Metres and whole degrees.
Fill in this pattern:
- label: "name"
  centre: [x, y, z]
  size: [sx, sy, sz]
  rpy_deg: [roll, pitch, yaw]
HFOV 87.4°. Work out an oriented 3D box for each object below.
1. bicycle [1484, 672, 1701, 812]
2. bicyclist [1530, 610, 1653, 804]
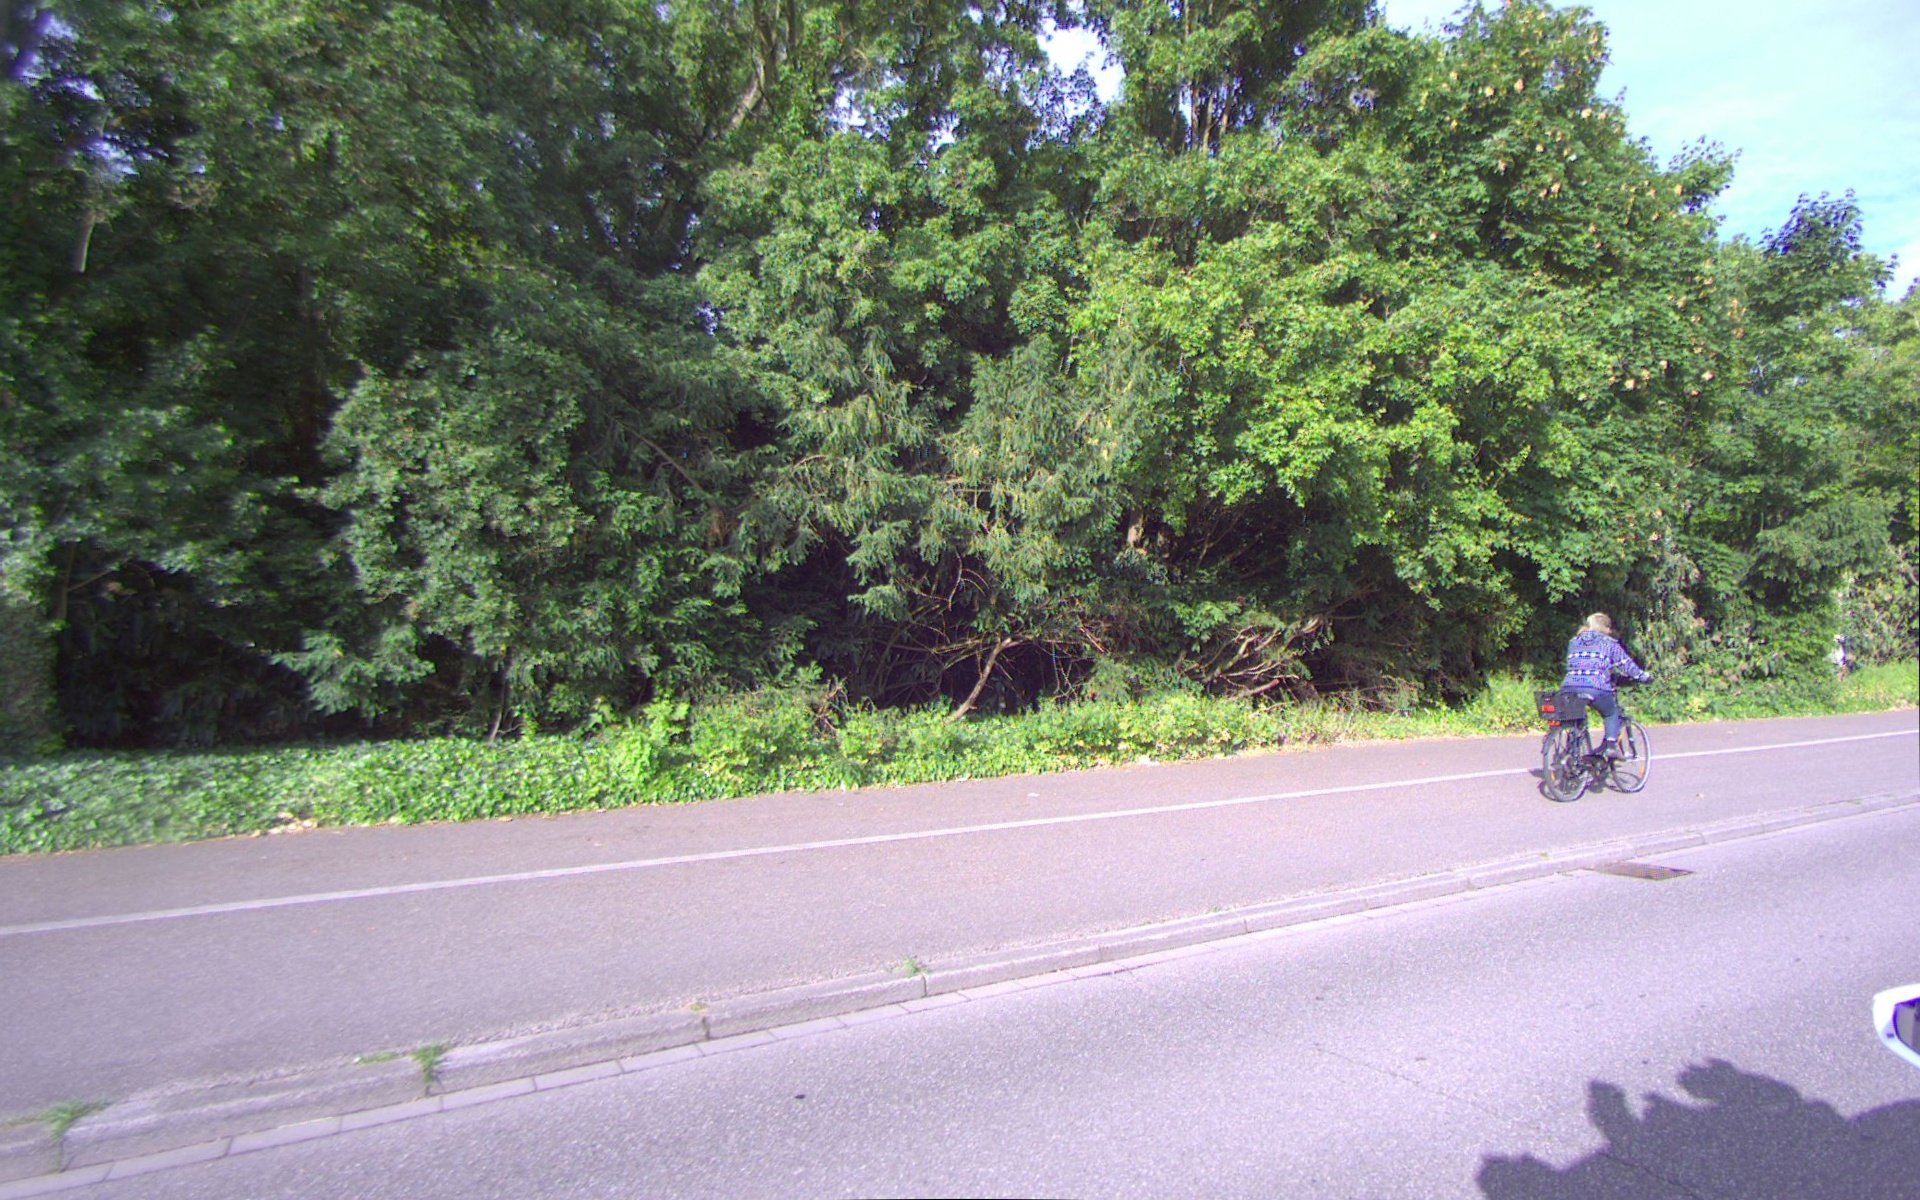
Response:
- label: "bicycle"
  centre: [5.929, 1.267, 9.374]
  size: [2.320, 1.112, 0.659]
  rpy_deg: [1, 0, -29]
- label: "bicyclist"
  centre: [5.865, 0.956, 9.341]
  size: [0.873, 1.699, 0.606]
  rpy_deg: [1, 0, -29]
